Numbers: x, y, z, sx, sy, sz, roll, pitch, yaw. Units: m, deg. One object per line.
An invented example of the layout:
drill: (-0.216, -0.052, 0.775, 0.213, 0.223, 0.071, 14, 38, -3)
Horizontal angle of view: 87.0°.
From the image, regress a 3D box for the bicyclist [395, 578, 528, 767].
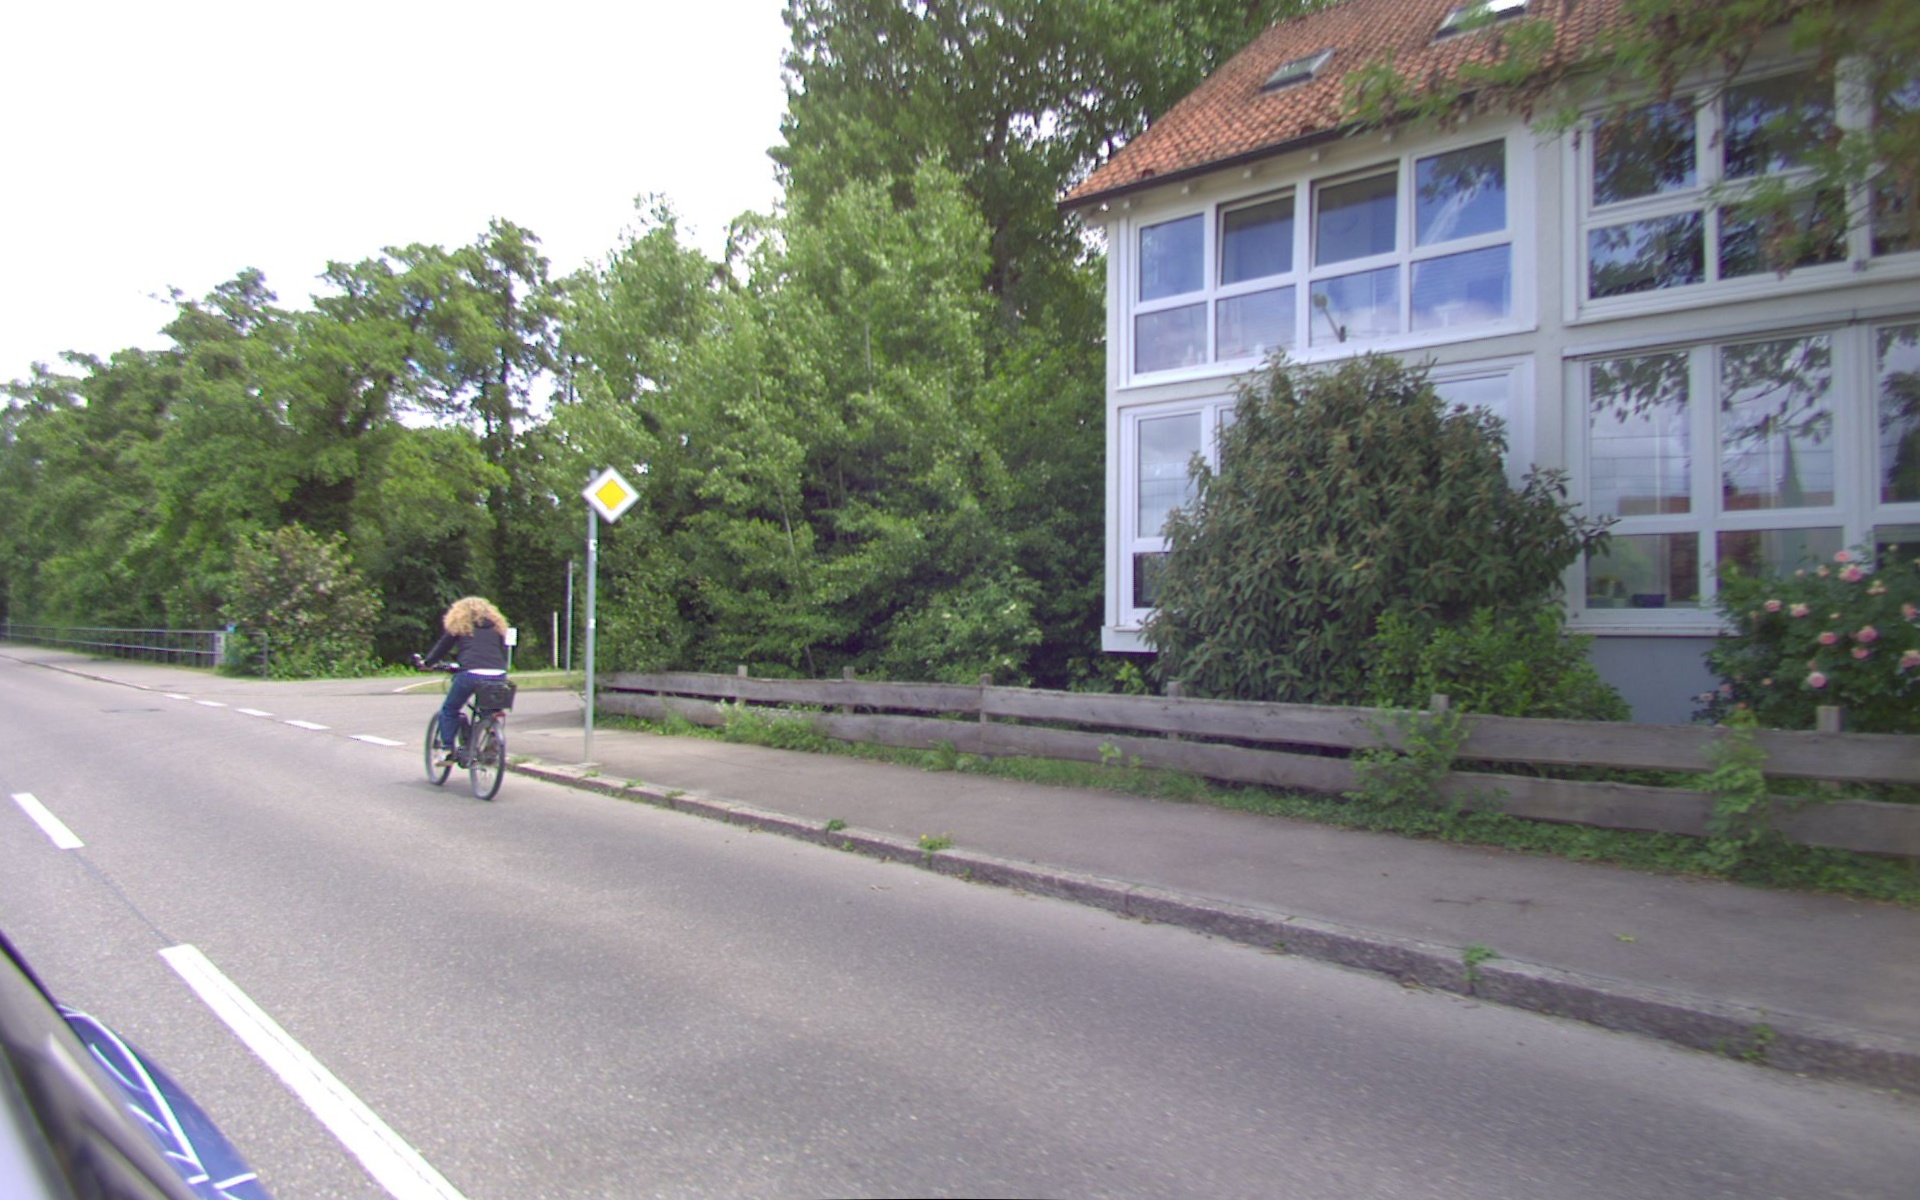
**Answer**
bicyclist: (-4.417, 0.616, 8.977, 0.869, 1.561, 0.770, -2, -3, 41)

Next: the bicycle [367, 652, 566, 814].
bicycle: (-4.466, 1.109, 9.061, 2.307, 1.236, 0.747, -2, -4, 42)
